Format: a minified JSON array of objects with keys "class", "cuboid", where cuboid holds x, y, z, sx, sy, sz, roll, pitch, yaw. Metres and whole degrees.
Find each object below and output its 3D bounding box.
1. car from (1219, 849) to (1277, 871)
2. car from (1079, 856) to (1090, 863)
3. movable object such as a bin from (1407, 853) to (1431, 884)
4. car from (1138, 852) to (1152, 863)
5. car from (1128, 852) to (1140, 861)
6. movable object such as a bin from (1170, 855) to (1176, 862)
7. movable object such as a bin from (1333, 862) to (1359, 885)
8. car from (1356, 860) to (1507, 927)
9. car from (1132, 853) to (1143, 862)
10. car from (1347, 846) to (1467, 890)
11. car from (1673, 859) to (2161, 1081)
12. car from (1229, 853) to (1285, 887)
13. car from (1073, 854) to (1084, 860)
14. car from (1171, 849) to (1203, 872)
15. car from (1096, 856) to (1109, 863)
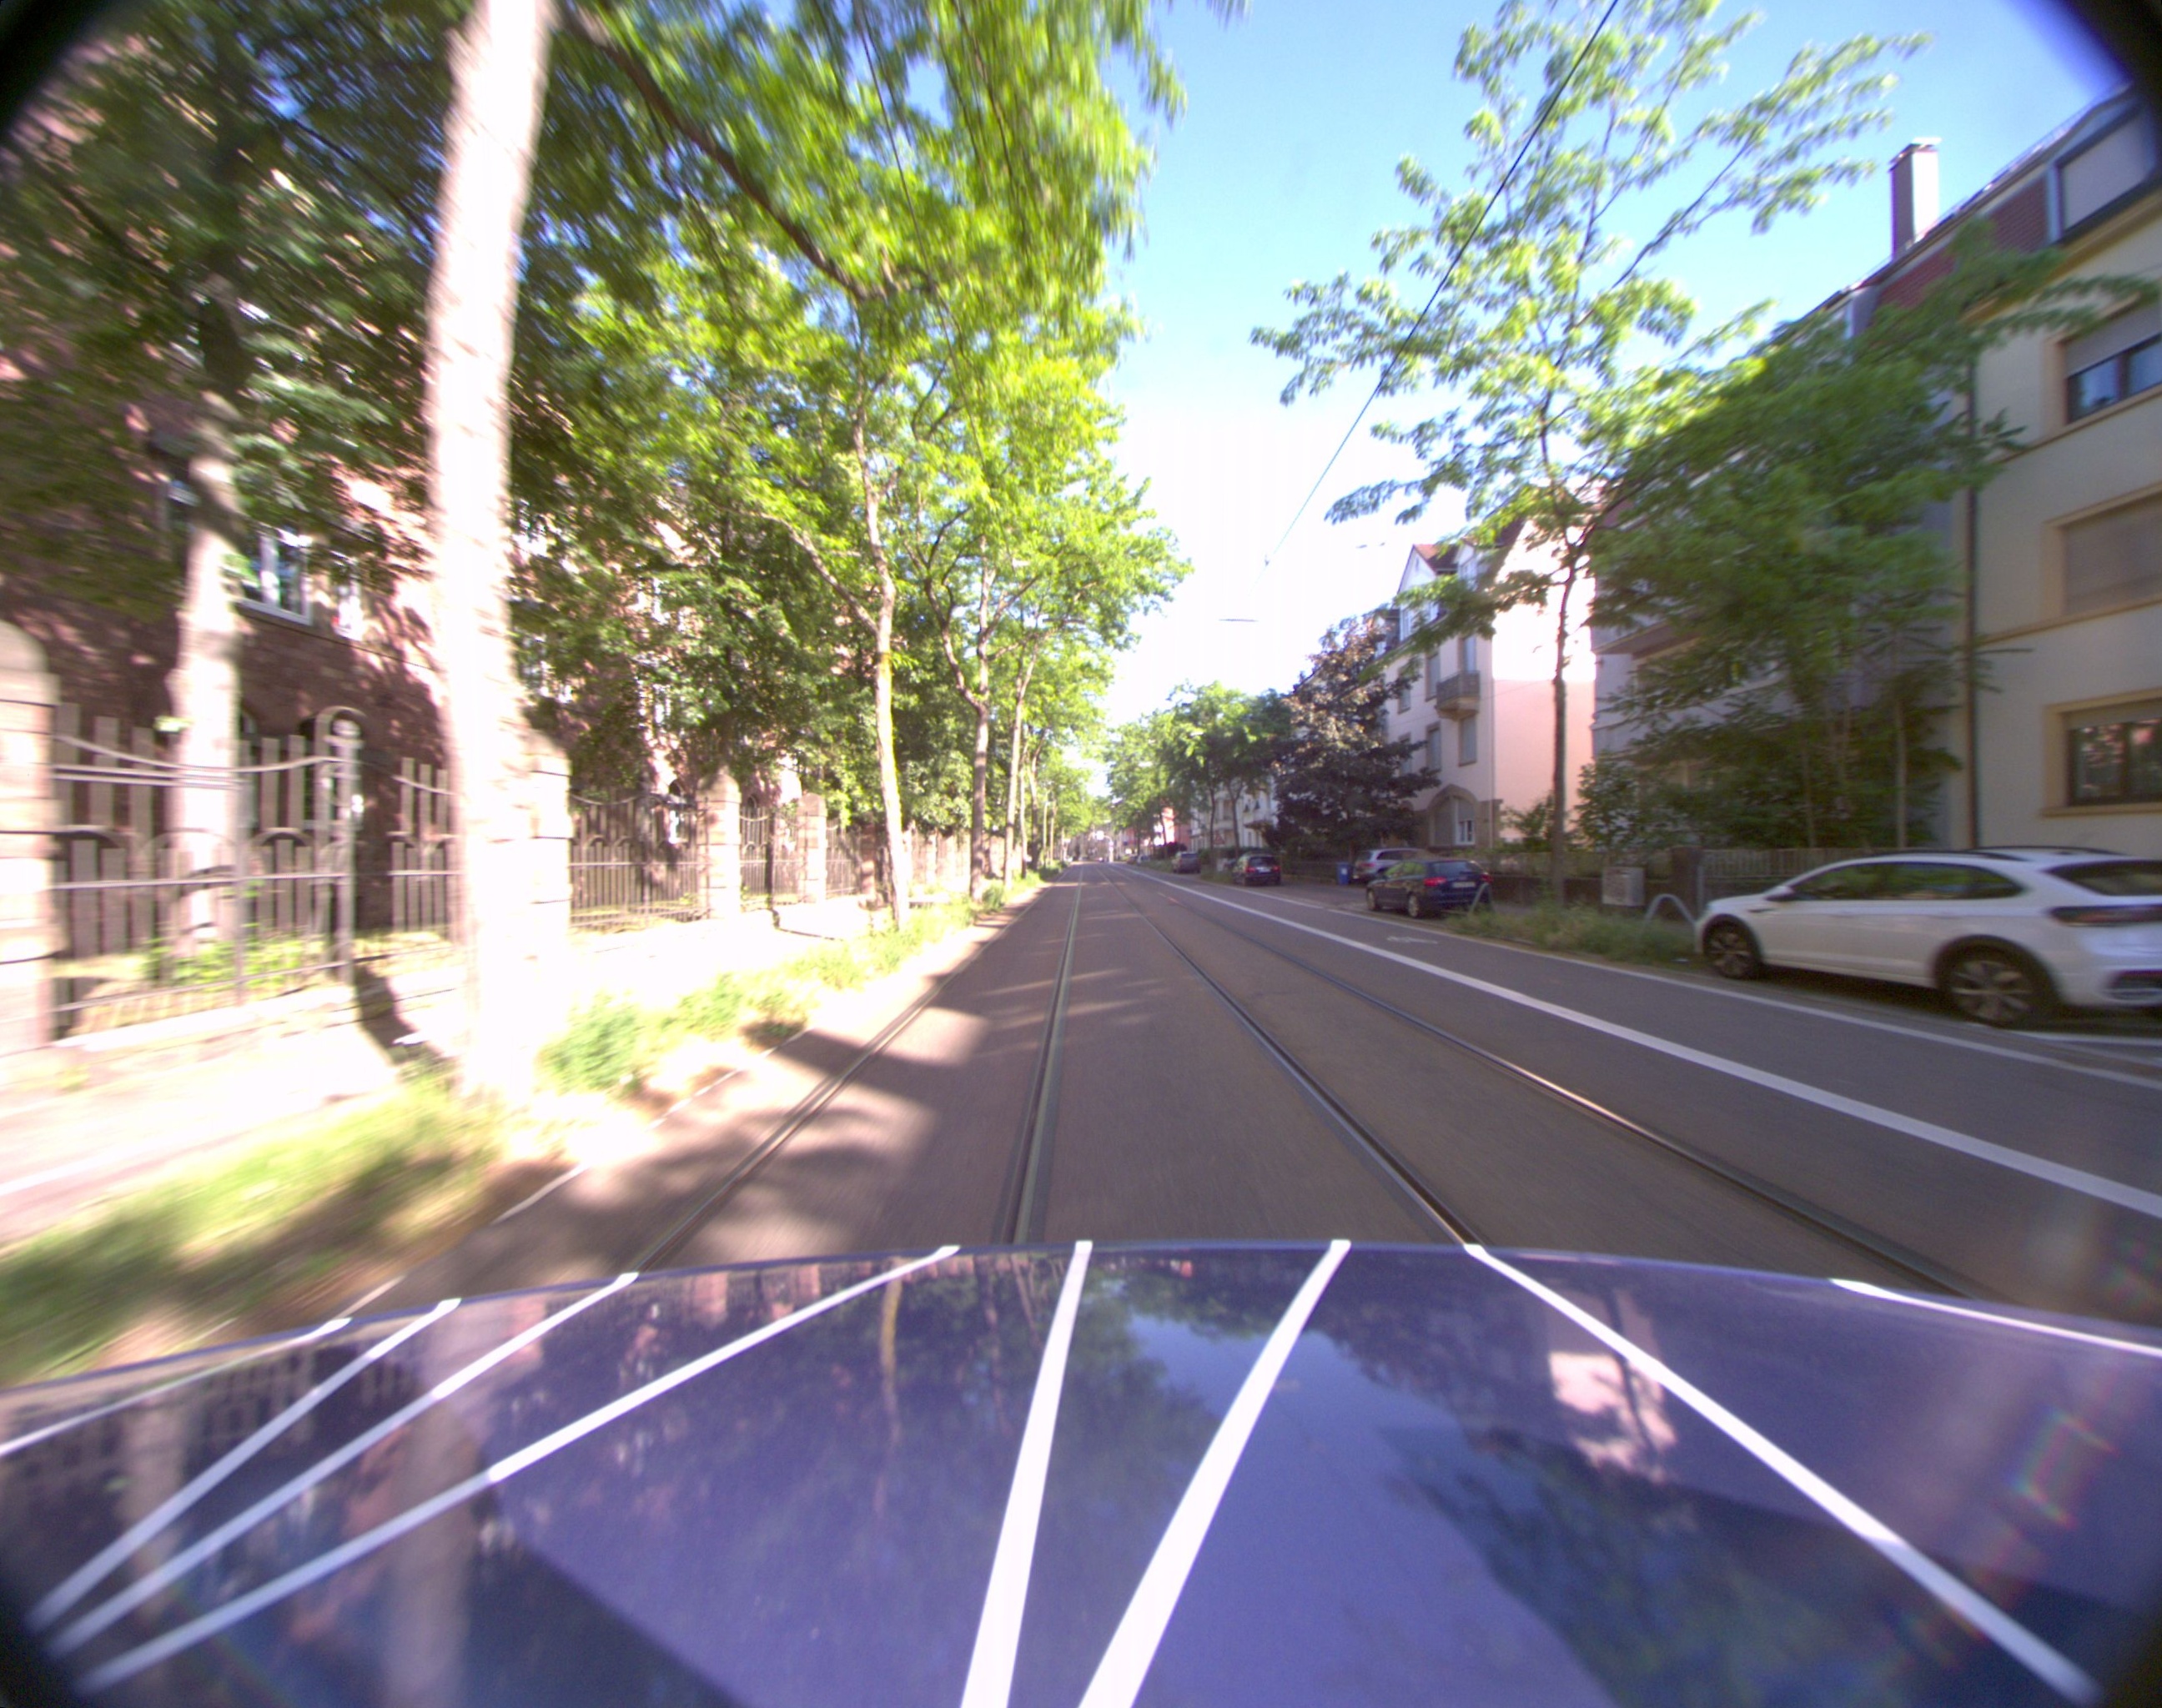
[{"class":"car","cuboid":[13.730,0.478,62.629,4.311,1.651,1.953,-2,0,2]},{"class":"car","cuboid":[0.943,1.339,185.237,1.880,1.390,3.996,-4,0,-11]},{"class":"movable object such as a bin","cuboid":[11.886,0.513,26.746,0.542,1.060,0.670,-1,1,1]},{"class":"car","cuboid":[9.365,0.507,111.959,1.629,1.526,3.689,-2,0,-1]},{"class":"car","cuboid":[9.286,0.378,132.794,1.577,1.446,4.095,-2,0,-3]},{"class":"movable object such as a bin","cuboid":[13.240,0.627,109.858,0.739,1.035,0.895,0,1,0]},{"class":"movable object such as a bin","cuboid":[12.088,0.884,34.673,0.877,1.060,0.814,-1,1,1]},{"class":"car","cuboid":[8.545,0.887,18.966,1.710,1.398,4.333,-2,0,0]},{"class":"car","cuboid":[9.234,0.533,123.881,1.558,1.446,3.668,-2,0,0]},{"class":"car","cuboid":[13.707,0.570,32.117,4.177,1.649,1.983,-2,0,-1]},{"class":"car","cuboid":[8.624,0.850,7.677,1.822,1.502,4.370,-2,0,-1]},{"class":"car","cuboid":[8.771,0.755,38.290,1.781,1.532,4.485,-2,0,1]},{"class":"car","cuboid":[-0.629,0.772,192.353,1.880,1.390,3.996,-4,0,-11]},{"class":"car","cuboid":[8.836,0.535,63.830,1.875,1.812,4.770,-2,0,-2]},{"class":"car","cuboid":[4.909,1.213,173.836,1.880,1.390,3.996,-4,0,-11]}]
